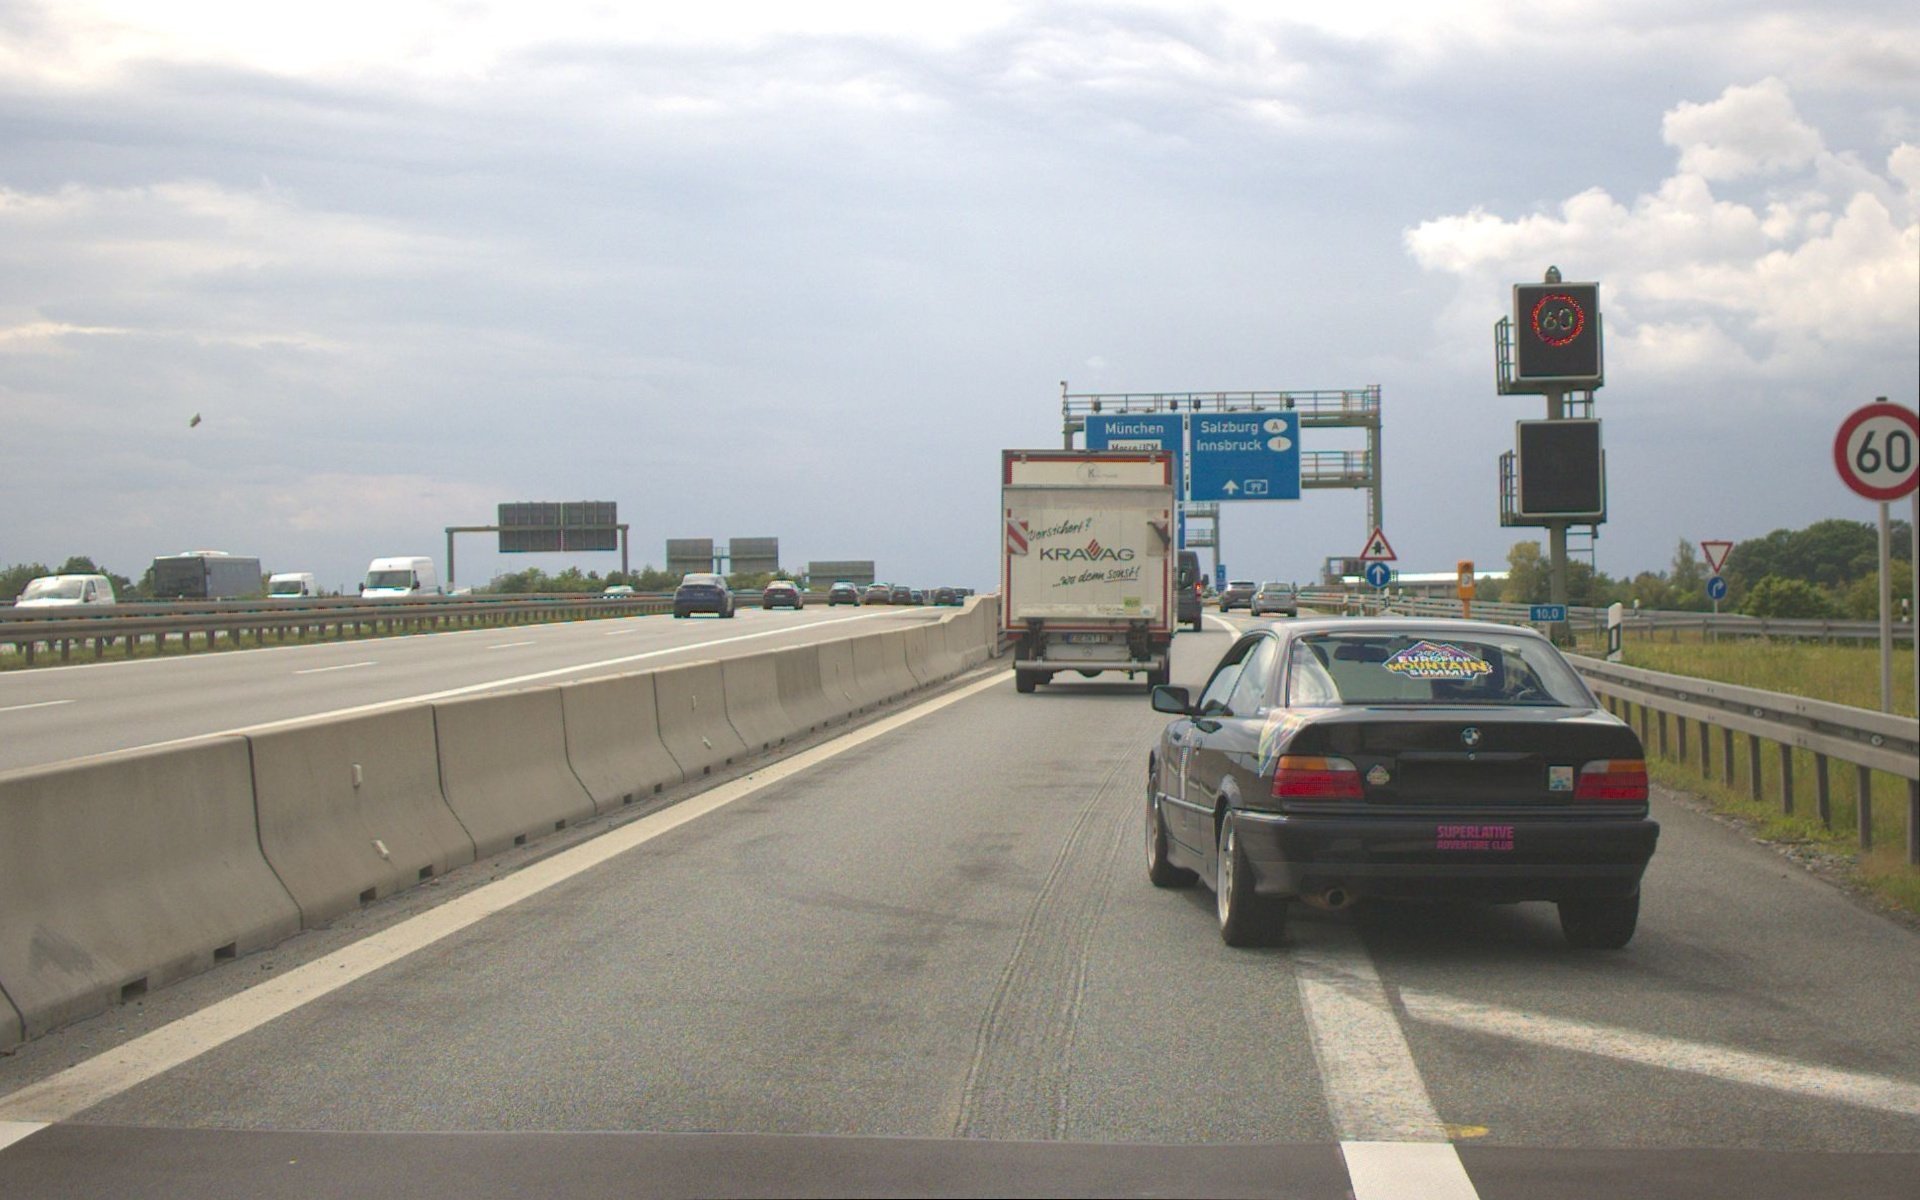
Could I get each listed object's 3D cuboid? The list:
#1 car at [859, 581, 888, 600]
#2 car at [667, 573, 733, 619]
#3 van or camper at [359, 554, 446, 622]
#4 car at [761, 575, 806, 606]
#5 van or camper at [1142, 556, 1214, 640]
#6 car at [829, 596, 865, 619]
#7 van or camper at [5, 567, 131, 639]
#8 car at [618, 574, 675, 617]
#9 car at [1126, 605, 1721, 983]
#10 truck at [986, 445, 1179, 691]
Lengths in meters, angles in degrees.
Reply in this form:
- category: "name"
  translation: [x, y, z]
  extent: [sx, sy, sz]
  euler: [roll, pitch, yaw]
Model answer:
- category: "car"
  translation: [-6.400, -0.736, 253.926]
  extent: [1.993, 1.393, 4.000]
  euler: [0, 0, 1]
- category: "car"
  translation: [-9.537, -0.166, 126.256]
  extent: [1.993, 1.656, 4.384]
  euler: [0, 0, 1]
- category: "van or camper"
  translation: [-21.942, -0.487, 135.597]
  extent: [2.187, 2.610, 6.905]
  euler: [0, 0, 1]
- category: "car"
  translation: [-8.873, -0.464, 172.836]
  extent: [1.993, 1.536, 4.000]
  euler: [0, 0, 1]
- category: "van or camper"
  translation: [6.294, -0.064, 99.672]
  extent: [1.999, 2.362, 6.126]
  euler: [0, 0, 3]
- category: "car"
  translation: [-6.983, 0.463, 212.823]
  extent: [1.993, 1.393, 4.000]
  euler: [0, 0, 1]
- category: "van or camper"
  translation: [-23.171, 0.060, 89.455]
  extent: [1.994, 1.822, 4.347]
  euler: [1, 0, 2]
- category: "car"
  translation: [-12.625, -0.174, 138.579]
  extent: [1.667, 1.700, 3.999]
  euler: [1, 0, 4]
- category: "car"
  translation: [1.854, 0.739, 15.041]
  extent: [1.782, 1.373, 4.137]
  euler: [1, 0, -4]
- category: "truck"
  translation: [1.708, -0.427, 46.501]
  extent: [2.404, 3.079, 6.369]
  euler: [1, 0, 3]
